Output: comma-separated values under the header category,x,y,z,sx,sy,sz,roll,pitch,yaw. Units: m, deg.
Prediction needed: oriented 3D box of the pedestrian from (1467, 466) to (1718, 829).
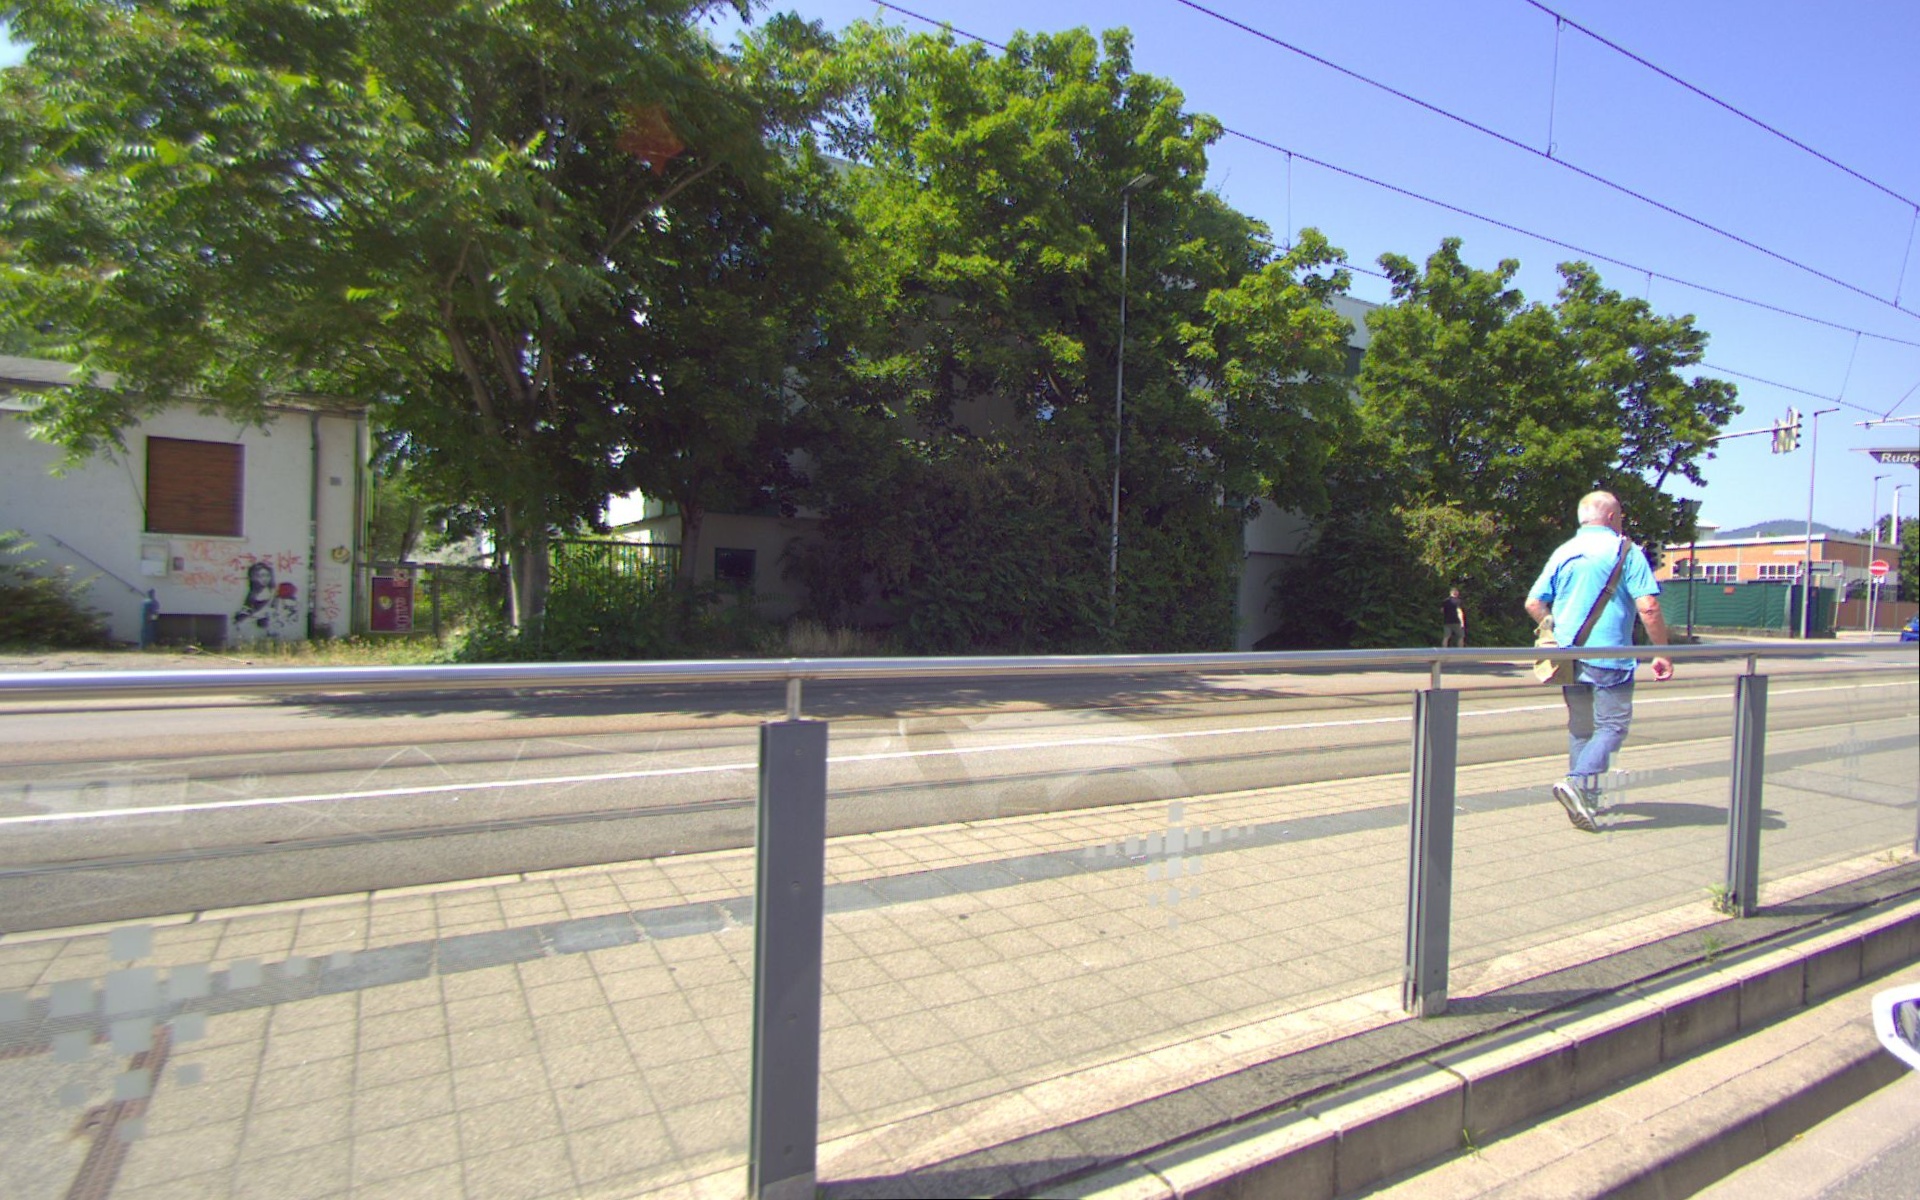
category,x,y,z,sx,sy,sz,roll,pitch,yaw
pedestrian,3.367,0.223,5.365,0.933,1.748,0.720,0,2,-30

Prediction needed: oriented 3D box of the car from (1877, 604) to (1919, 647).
category,x,y,z,sx,sy,sz,roll,pitch,yaw
car,37.676,1.011,38.040,4.078,1.557,1.807,2,1,4

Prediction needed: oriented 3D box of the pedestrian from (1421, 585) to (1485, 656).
category,x,y,z,sx,sy,sz,roll,pitch,yaw
pedestrian,12.044,0.491,24.543,1.146,1.693,0.881,1,1,-30
